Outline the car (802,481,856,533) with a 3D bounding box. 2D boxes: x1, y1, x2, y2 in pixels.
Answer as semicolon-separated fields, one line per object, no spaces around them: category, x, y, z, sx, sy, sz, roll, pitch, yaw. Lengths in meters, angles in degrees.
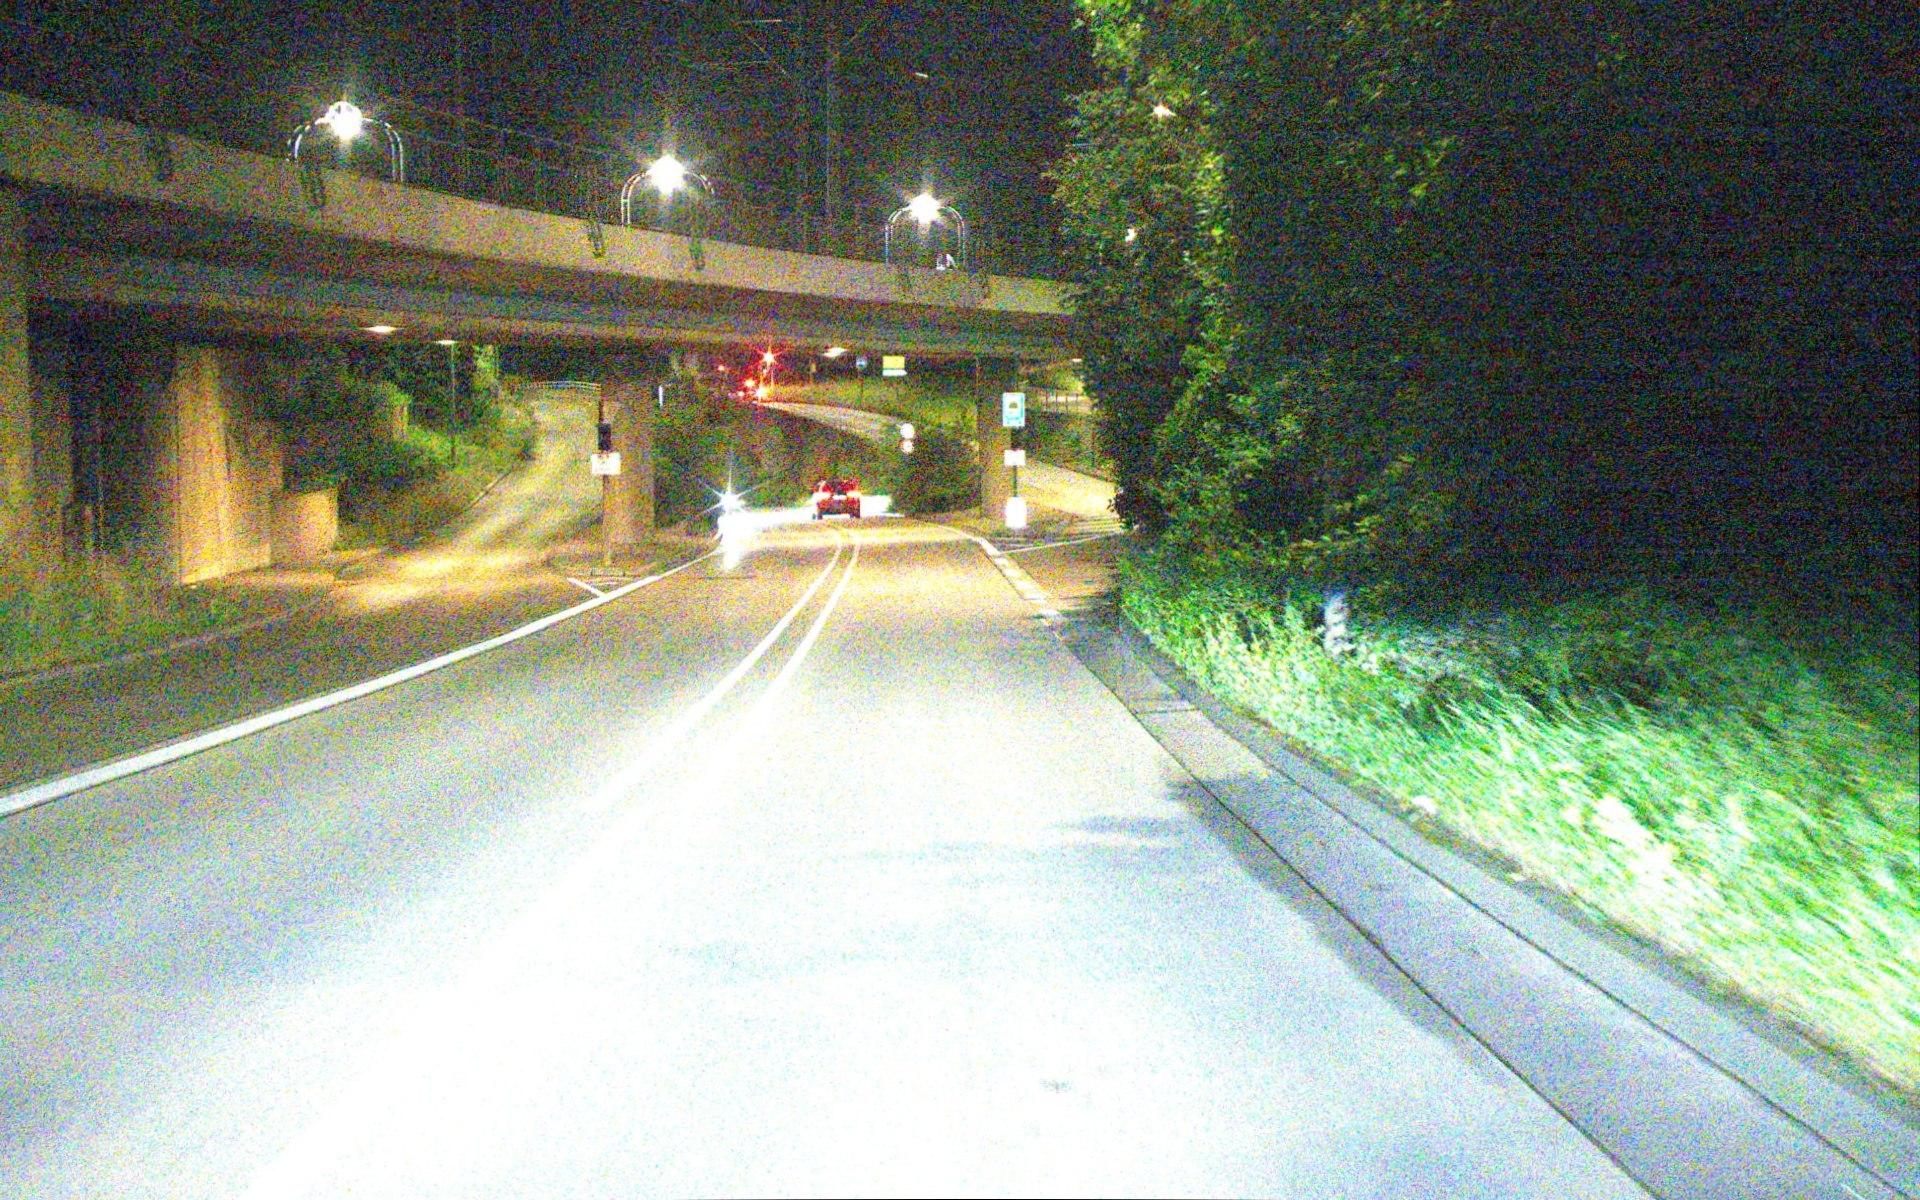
car;-5.397;-3.810;141.042;1.918;2.007;4.123;2;1;-6
